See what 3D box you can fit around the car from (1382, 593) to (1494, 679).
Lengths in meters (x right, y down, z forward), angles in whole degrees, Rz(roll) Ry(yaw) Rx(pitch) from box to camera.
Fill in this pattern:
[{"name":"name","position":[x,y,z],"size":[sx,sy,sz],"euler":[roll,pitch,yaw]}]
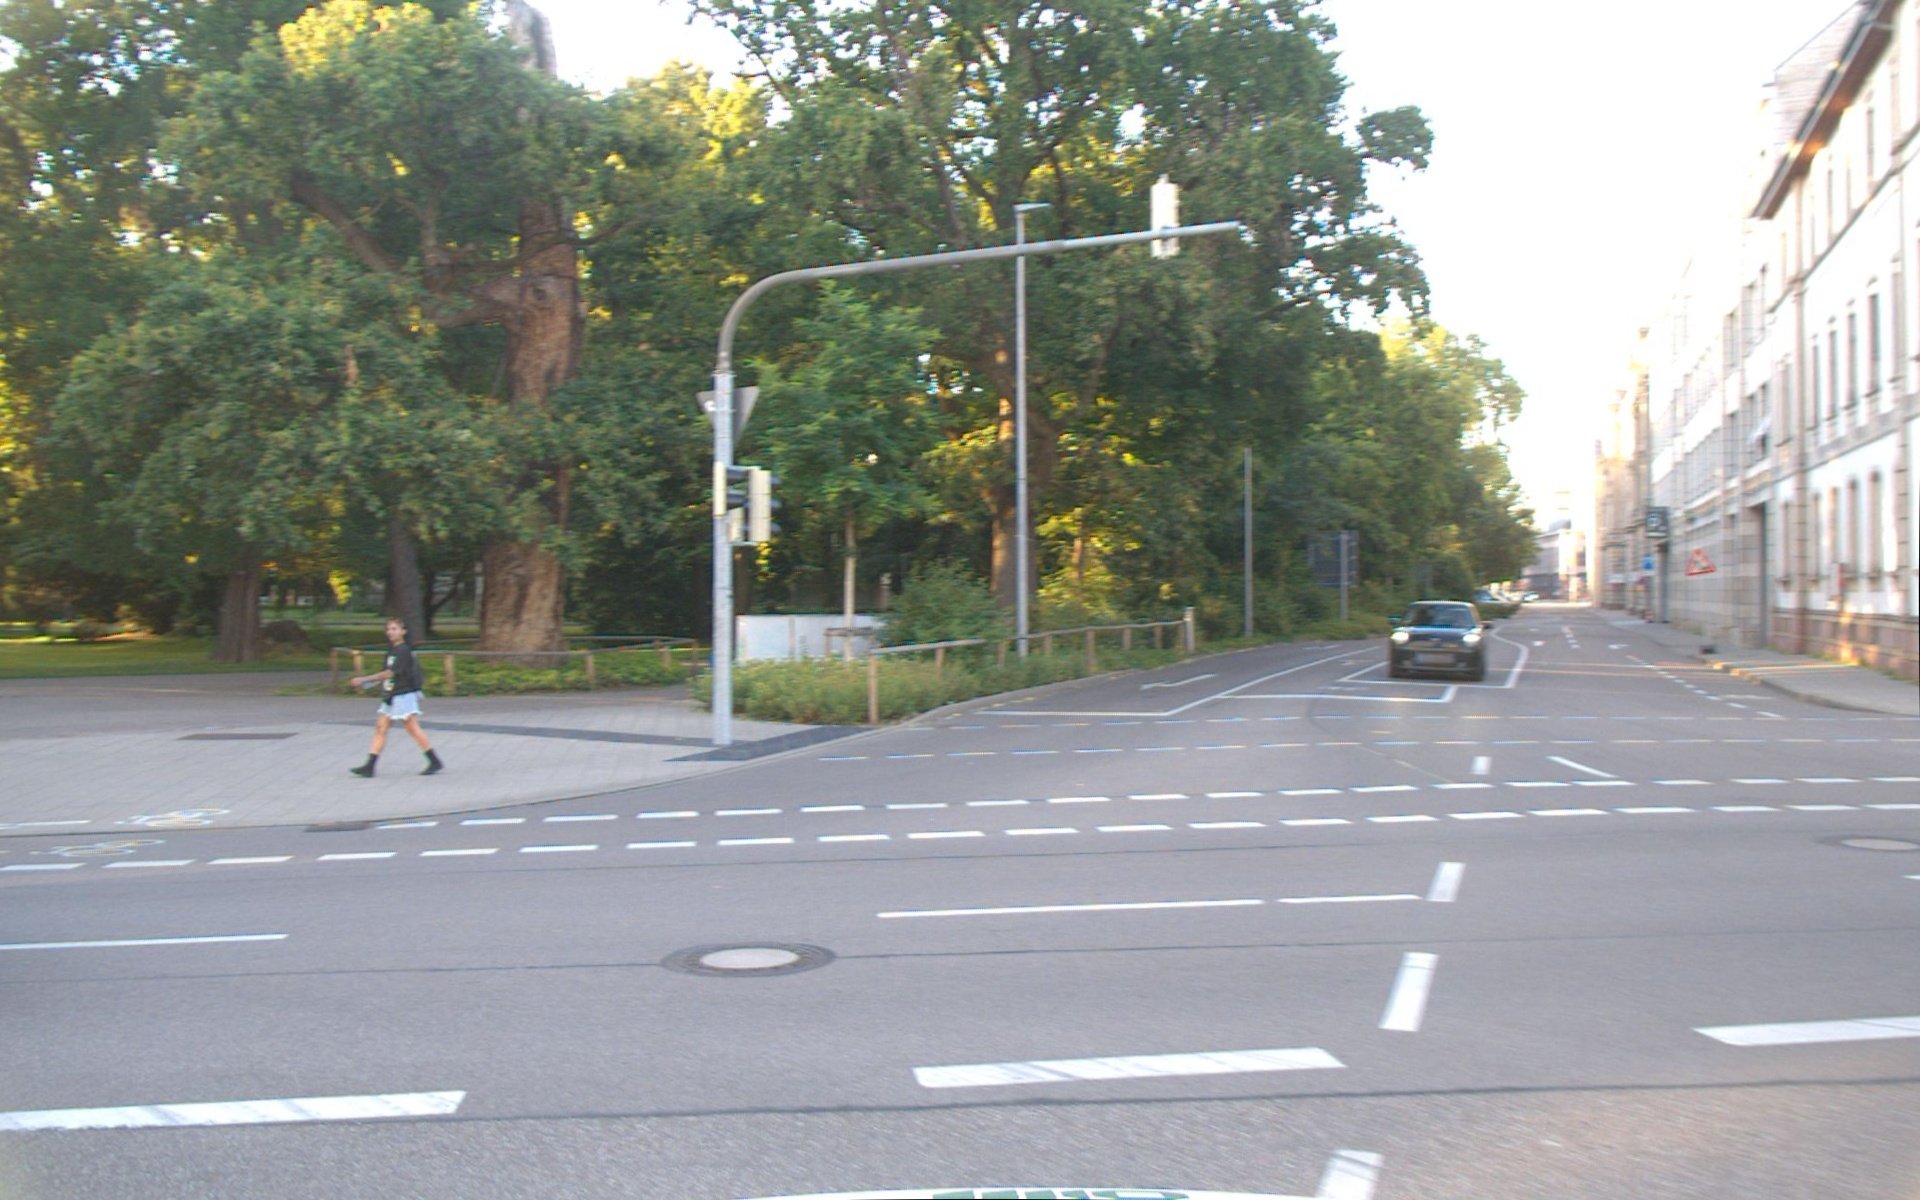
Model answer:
[{"name":"car","position":[9.253,0.649,31.855],"size":[1.786,1.543,3.576],"euler":[0,0,21]}]

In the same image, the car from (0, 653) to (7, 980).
[{"name":"car","position":[-6.403,1.006,7.307],"size":[3.807,1.475,1.725],"euler":[-1,0,19]}]

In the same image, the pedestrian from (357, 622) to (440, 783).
[{"name":"pedestrian","position":[-5.469,0.986,16.121],"size":[0.604,1.530,0.580],"euler":[0,0,-1]}]
